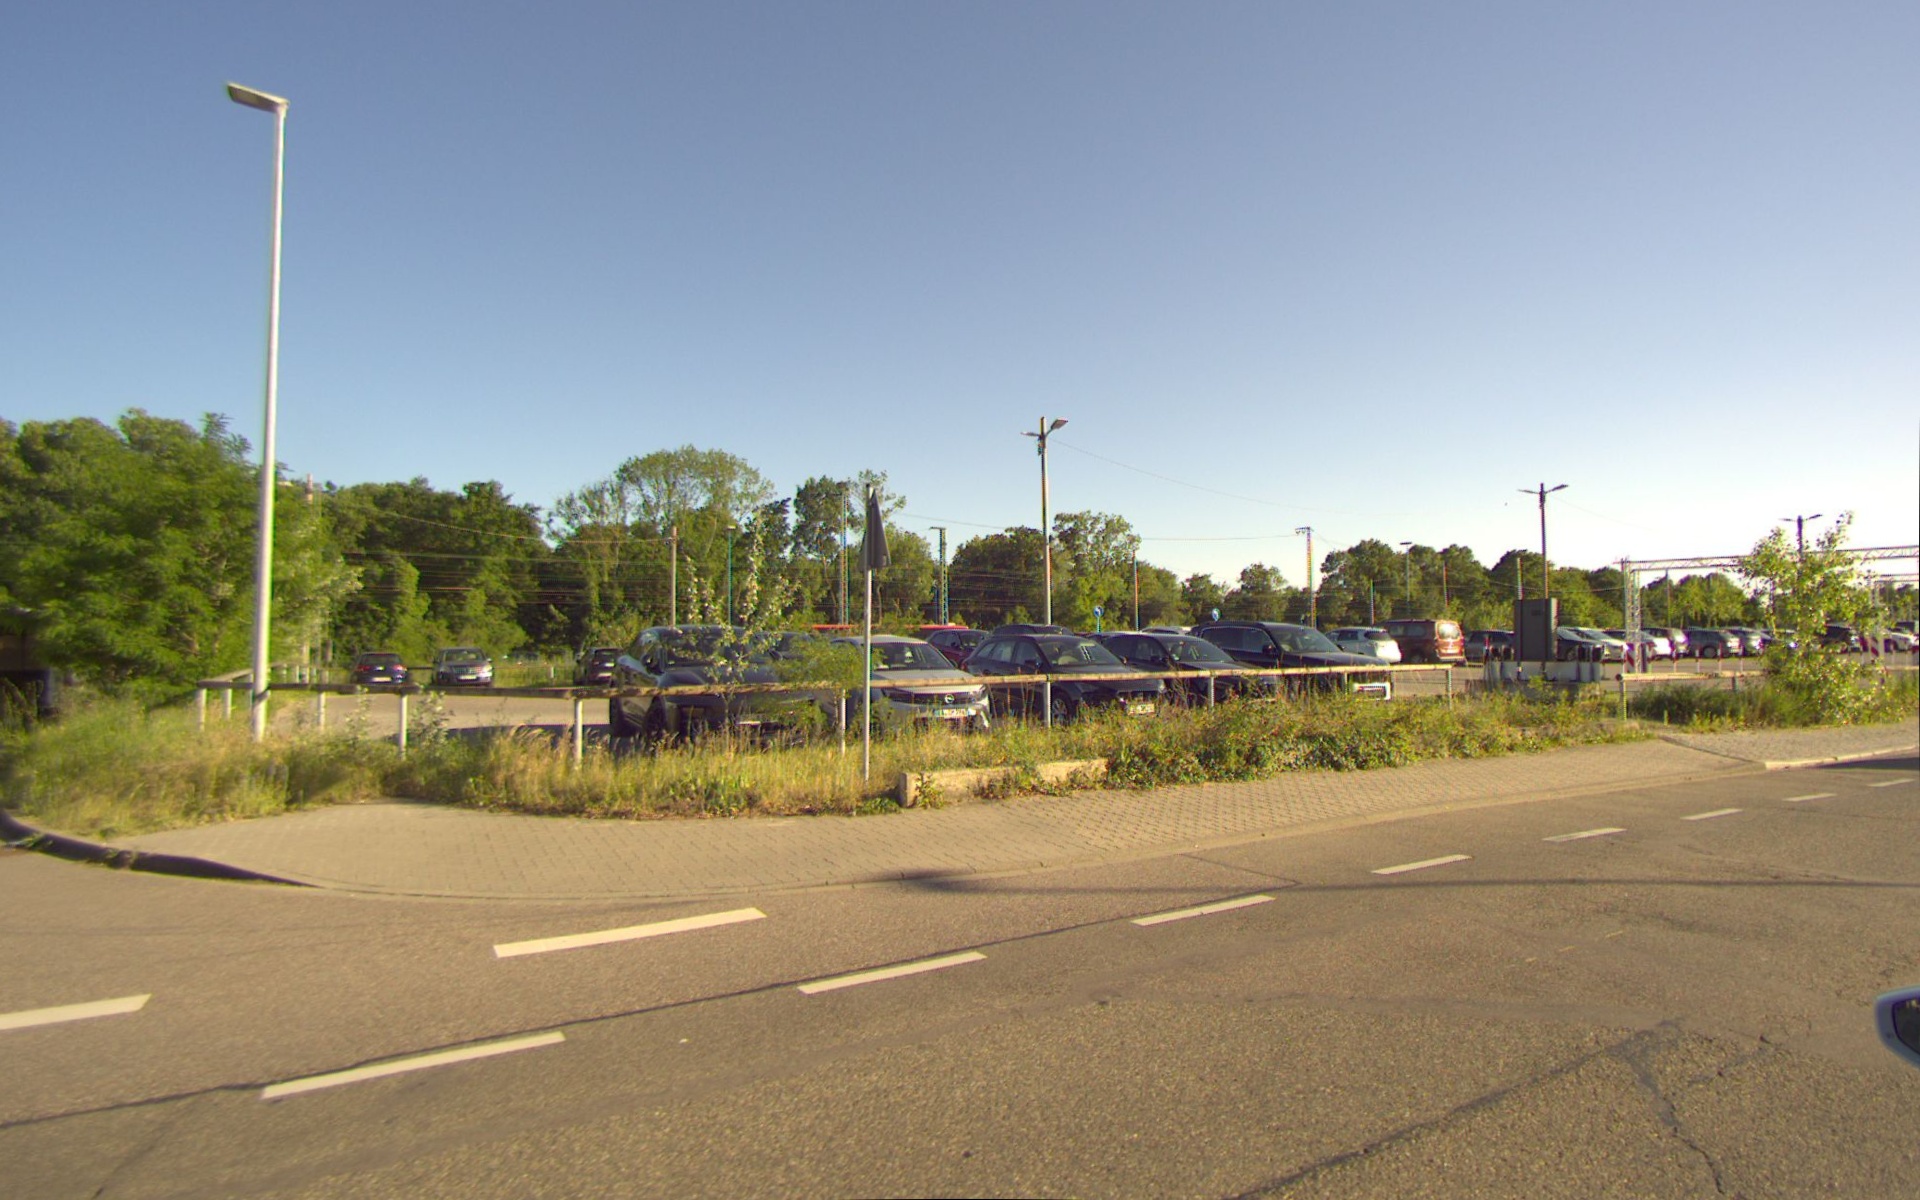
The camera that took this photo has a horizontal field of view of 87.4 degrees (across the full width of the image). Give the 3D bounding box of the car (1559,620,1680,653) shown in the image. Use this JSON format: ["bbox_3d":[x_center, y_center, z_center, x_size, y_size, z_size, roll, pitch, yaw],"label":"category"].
[{"bbox_3d":[30.421,1.692,46.485,1.855,1.411,4.304,0,-2,-29],"label":"car"}]

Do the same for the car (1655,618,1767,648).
[{"bbox_3d":[39.230,1.728,52.569,1.856,1.438,4.302,0,-2,-30],"label":"car"}]

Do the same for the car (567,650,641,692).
[{"bbox_3d":[-13.892,2.724,39.081,1.842,1.484,3.984,0,-3,-33],"label":"car"}]

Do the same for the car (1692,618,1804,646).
[{"bbox_3d":[41.695,1.716,53.228,1.856,1.394,4.302,0,-2,-30],"label":"car"}]

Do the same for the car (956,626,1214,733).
[{"bbox_3d":[1.849,1.214,16.418,2.023,1.481,4.411,0,-3,-28],"label":"car"}]

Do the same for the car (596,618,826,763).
[{"bbox_3d":[-3.544,1.112,13.625,2.023,1.601,4.411,0,-3,-28],"label":"car"}]

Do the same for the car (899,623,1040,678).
[{"bbox_3d":[0.181,1.400,28.132,2.026,1.415,4.137,0,-3,-33],"label":"car"}]

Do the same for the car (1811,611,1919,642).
[{"bbox_3d":[54.908,1.621,60.929,2.030,1.764,4.566,0,-2,-26],"label":"car"}]

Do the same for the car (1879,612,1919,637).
[{"bbox_3d":[64.115,1.640,66.652,1.856,1.639,4.302,0,-2,-30],"label":"car"}]

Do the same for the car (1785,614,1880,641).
[{"bbox_3d":[52.144,1.652,60.089,1.856,1.540,3.865,0,-2,-30],"label":"car"}]

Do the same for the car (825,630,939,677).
[{"bbox_3d":[-2.651,1.756,33.137,2.026,1.415,4.137,0,-3,-33],"label":"car"}]

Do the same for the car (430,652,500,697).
[{"bbox_3d":[-17.952,2.653,36.346,1.842,1.484,3.984,0,-3,-33],"label":"car"}]

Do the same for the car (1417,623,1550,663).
[{"bbox_3d":[21.348,1.729,41.150,1.965,1.500,4.561,0,-2,-26],"label":"car"}]

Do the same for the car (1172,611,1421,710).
[{"bbox_3d":[6.381,1.133,19.580,2.023,1.692,4.411,0,-3,-28],"label":"car"}]

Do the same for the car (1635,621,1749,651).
[{"bbox_3d":[36.952,1.812,50.820,1.856,1.438,4.302,0,-2,-30],"label":"car"}]

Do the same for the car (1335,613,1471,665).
[{"bbox_3d":[16.880,1.489,38.510,1.834,1.829,4.557,0,-2,-29],"label":"car"}]

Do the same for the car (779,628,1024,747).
[{"bbox_3d":[-1.057,1.208,15.059,2.023,1.481,4.411,0,-3,-28],"label":"car"}]

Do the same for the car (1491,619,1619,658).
[{"bbox_3d":[26.056,1.691,44.173,1.834,1.606,4.557,0,-2,-29],"label":"car"}]

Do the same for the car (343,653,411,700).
[{"bbox_3d":[-20.282,2.592,34.869,1.842,1.484,3.984,0,-3,-33],"label":"car"}]

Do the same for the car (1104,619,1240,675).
[{"bbox_3d":[6.725,1.500,32.211,1.945,1.683,4.138,0,-3,-32],"label":"car"}]

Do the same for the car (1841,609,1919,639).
[{"bbox_3d":[59.481,1.540,64.291,1.856,1.815,4.302,0,-2,-30],"label":"car"}]

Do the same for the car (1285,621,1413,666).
[{"bbox_3d":[14.560,1.611,37.843,1.834,1.566,4.349,0,-2,-29],"label":"car"}]

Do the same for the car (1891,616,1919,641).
[{"bbox_3d":[66.222,1.916,68.072,1.856,1.639,4.188,0,-2,-30],"label":"car"}]

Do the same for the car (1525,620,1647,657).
[{"bbox_3d":[28.145,1.717,45.310,1.855,1.543,4.304,0,-2,-29],"label":"car"}]

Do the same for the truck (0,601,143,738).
[{"bbox_3d":[-21.384,1.603,23.677,2.289,2.844,6.465,1,-3,-31],"label":"truck"}]

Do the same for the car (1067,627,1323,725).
[{"bbox_3d":[3.982,1.273,17.848,2.023,1.481,4.411,0,-3,-28],"label":"car"}]

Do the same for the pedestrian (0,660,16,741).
[{"bbox_3d":[-20.131,2.064,20.578,0.904,1.661,0.924,0,-3,-29],"label":"pedestrian"}]

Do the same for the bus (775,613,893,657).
[{"bbox_3d":[-7.105,1.966,56.657,6.128,2.379,2.529,0,-3,-29],"label":"bus"}]

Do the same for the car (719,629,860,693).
[{"bbox_3d":[-4.478,1.535,25.888,2.026,1.484,4.378,0,-3,-33],"label":"car"}]

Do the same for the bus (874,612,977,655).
[{"bbox_3d":[-2.039,1.990,59.477,5.520,2.379,2.529,0,-3,-29],"label":"bus"}]

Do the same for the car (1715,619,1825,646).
[{"bbox_3d":[44.033,1.777,54.705,1.856,1.394,4.302,0,-2,-30],"label":"car"}]

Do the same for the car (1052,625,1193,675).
[{"bbox_3d":[4.897,1.529,30.803,2.026,1.415,4.137,0,-3,-33],"label":"car"}]

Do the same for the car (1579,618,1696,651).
[{"bbox_3d":[32.402,1.666,48.162,1.855,1.482,4.304,0,-2,-29],"label":"car"}]

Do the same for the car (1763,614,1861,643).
[{"bbox_3d":[48.657,1.640,57.413,1.856,1.624,3.865,0,-2,-30],"label":"car"}]

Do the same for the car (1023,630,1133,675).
[{"bbox_3d":[4.336,1.938,37.460,1.945,1.549,4.138,0,-3,-32],"label":"car"}]
